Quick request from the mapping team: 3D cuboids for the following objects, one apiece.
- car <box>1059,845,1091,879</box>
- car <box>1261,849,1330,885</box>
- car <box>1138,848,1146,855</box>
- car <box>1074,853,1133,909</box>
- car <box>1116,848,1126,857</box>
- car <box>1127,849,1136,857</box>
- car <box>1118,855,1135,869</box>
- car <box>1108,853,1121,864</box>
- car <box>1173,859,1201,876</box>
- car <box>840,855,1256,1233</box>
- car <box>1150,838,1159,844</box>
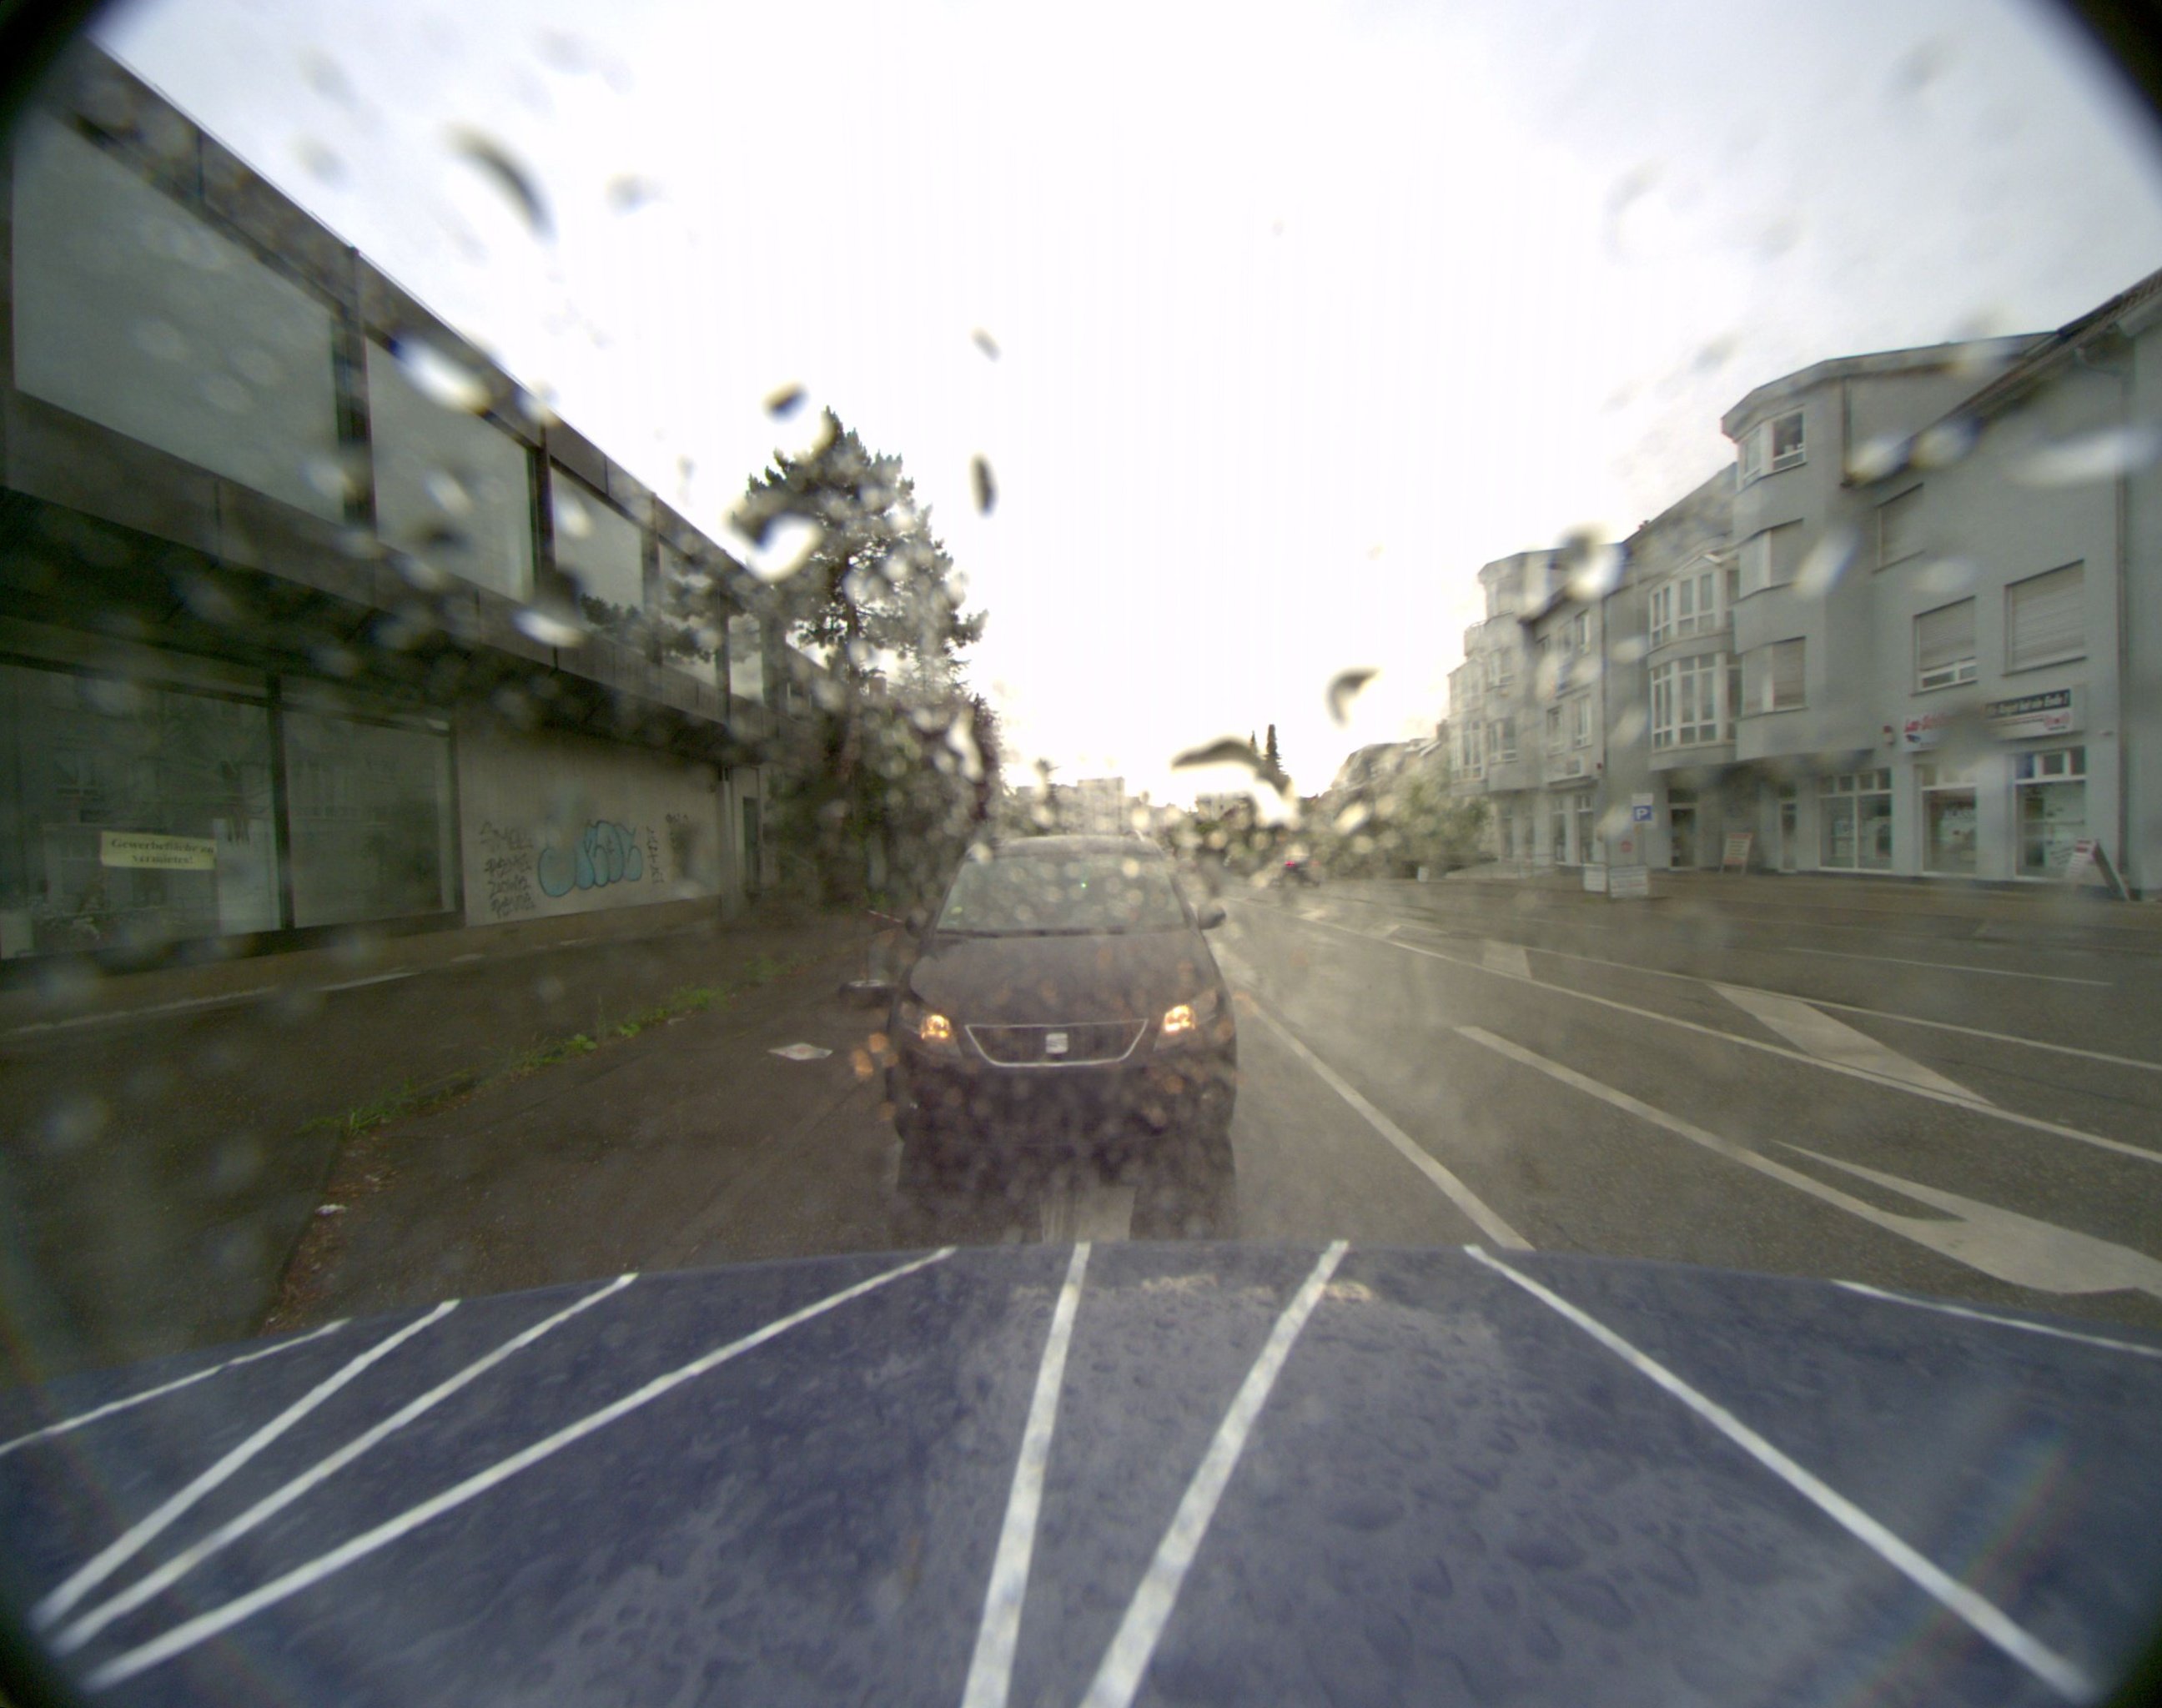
[{"bbox_3d":[-0.350,0.470,50.405,1.998,2.072,3.999,-2,1,1],"label":"car"},{"bbox_3d":[10.138,0.576,36.219,1.972,1.503,3.999,-2,1,-2],"label":"car"},{"bbox_3d":[16.736,-0.764,208.128,1.998,1.808,4.001,-2,1,4],"label":"car"},{"bbox_3d":[0.739,0.857,26.022,1.803,1.675,3.999,-2,1,1],"label":"car"},{"bbox_3d":[8.814,-0.310,166.190,1.998,1.808,3.999,-2,1,1],"label":"car"},{"bbox_3d":[12.858,-0.235,193.056,1.998,2.002,3.999,-2,1,1],"label":"car"},{"bbox_3d":[5.977,1.031,99.979,1.998,1.723,3.999,-2,1,1],"label":"car"},{"bbox_3d":[5.700,0.772,128.219,1.998,1.774,3.999,-2,1,1],"label":"car"},{"bbox_3d":[10.624,1.344,76.441,1.999,1.615,4.538,-3,0,-2],"label":"car"},{"bbox_3d":[-0.108,0.825,5.597,1.754,1.534,4.676,-1,1,1],"label":"car"},{"bbox_3d":[23.419,-4.036,241.721,1.996,1.808,4.003,-2,1,14],"label":"car"}]
